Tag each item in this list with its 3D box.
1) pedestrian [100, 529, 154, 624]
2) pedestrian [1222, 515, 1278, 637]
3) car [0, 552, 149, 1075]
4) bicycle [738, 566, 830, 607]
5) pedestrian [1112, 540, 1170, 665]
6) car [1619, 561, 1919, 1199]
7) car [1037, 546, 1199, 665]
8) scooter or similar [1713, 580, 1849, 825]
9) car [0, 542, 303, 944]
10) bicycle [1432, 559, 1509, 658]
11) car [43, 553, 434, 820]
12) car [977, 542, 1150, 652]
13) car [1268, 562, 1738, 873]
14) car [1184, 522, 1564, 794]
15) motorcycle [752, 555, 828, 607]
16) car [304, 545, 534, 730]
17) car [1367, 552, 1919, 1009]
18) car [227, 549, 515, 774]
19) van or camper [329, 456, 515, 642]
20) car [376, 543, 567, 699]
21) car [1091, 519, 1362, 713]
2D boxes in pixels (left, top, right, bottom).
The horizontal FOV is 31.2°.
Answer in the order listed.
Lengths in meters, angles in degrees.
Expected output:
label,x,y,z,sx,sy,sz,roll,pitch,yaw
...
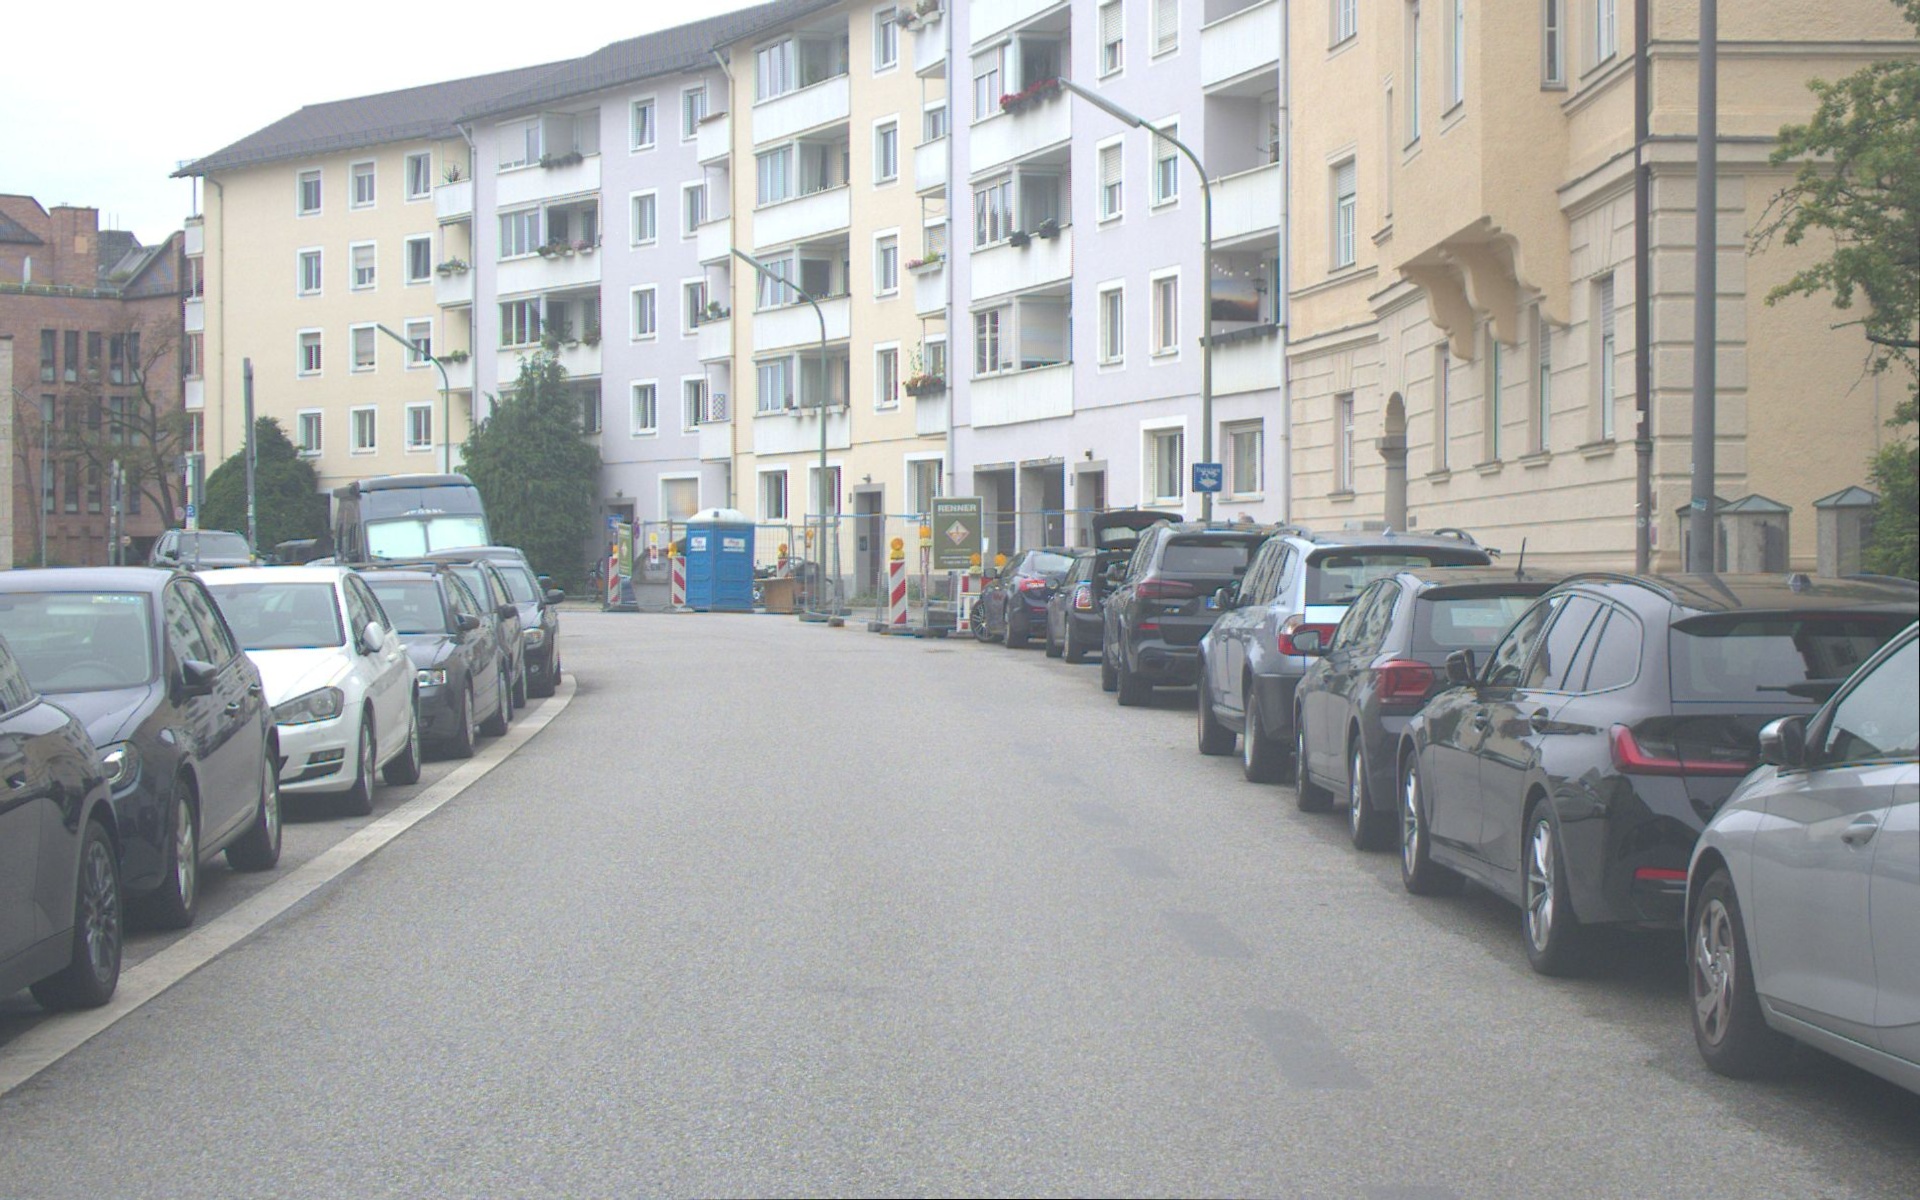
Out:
label,x,y,z,sx,sy,sz,roll,pitch,yaw
pedestrian,-16.337,-0.459,67.432,0.842,1.860,0.714,0,1,-29
pedestrian,4.118,-0.340,48.814,0.617,1.684,0.919,-3,1,-1
car,-3.599,0.649,9.901,1.631,1.489,3.820,-2,1,-1
bicycle,-4.649,-0.359,90.658,2.232,1.066,0.920,0,1,-25
pedestrian,2.228,0.023,42.325,0.628,1.523,0.578,1,1,-2
car,3.051,0.660,8.789,1.724,1.445,4.188,1,1,-3
car,1.984,0.041,44.076,1.630,1.412,3.680,1,1,-4
scooter or similar,4.275,0.518,17.953,0.427,1.226,1.047,1,1,-1
car,-3.961,0.502,14.930,1.630,1.489,4.101,1,1,-3
bicycle,5.689,0.080,38.397,0.502,1.045,2.138,-3,1,0
car,-4.293,0.448,21.055,1.740,1.417,4.295,1,1,-4
car,1.455,-0.083,50.337,1.908,1.472,4.947,1,1,-5
car,2.833,0.552,18.825,1.827,1.445,4.084,1,1,-1
car,2.719,0.314,23.609,1.846,1.658,4.499,1,1,-2
motorcycle,-4.088,-0.455,82.642,0.931,1.217,2.508,0,1,-25
car,-4.797,0.285,30.863,1.630,1.489,3.604,-2,1,-3
car,2.901,0.565,13.593,1.875,1.445,4.678,1,1,-2
car,-4.392,0.397,26.191,1.630,1.489,4.276,-2,1,-3
van or camper,-8.085,-0.793,51.211,2.296,2.572,6.088,1,1,-13
car,-5.072,0.164,36.130,1.773,1.460,4.467,-2,1,-6
car,2.528,0.093,33.870,2.170,1.733,5.024,1,1,-1
